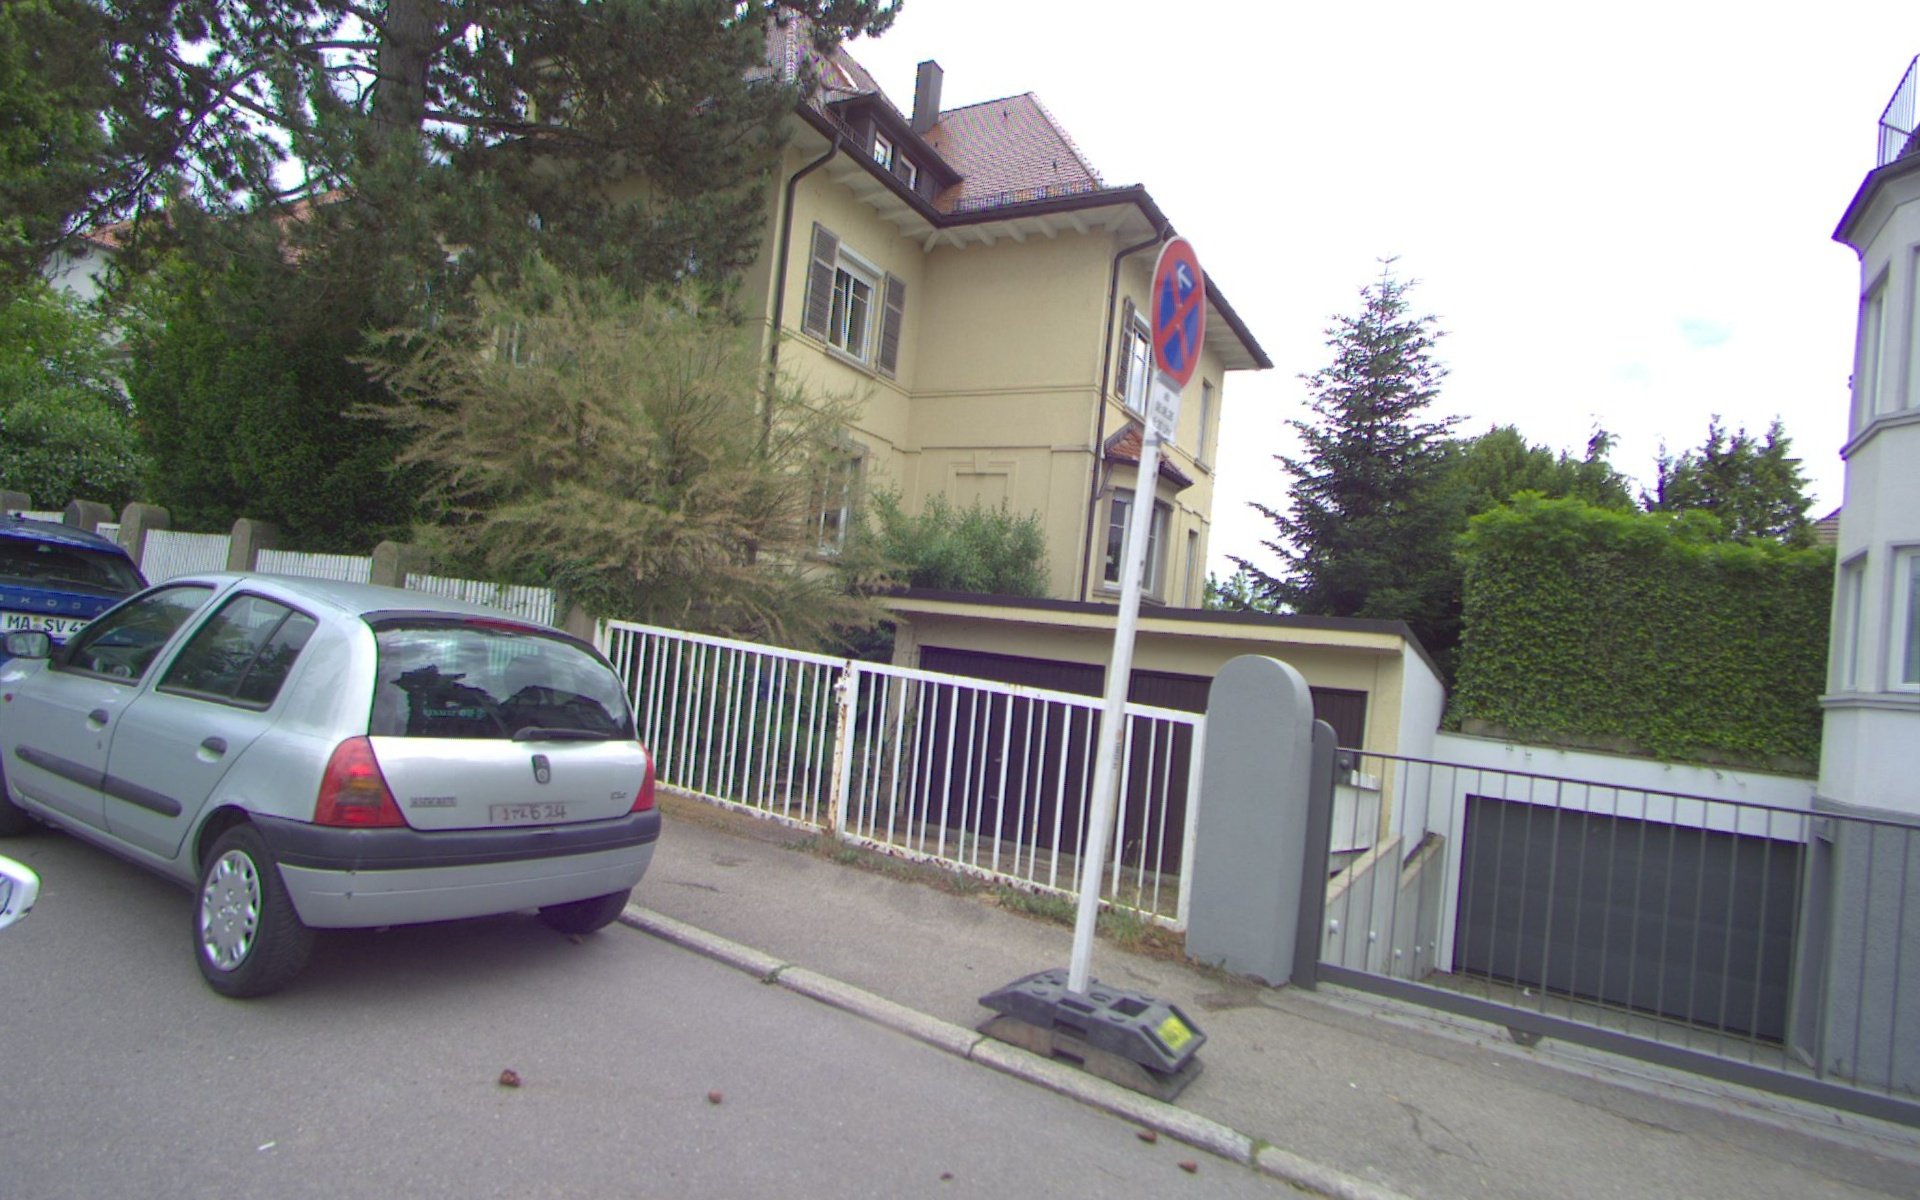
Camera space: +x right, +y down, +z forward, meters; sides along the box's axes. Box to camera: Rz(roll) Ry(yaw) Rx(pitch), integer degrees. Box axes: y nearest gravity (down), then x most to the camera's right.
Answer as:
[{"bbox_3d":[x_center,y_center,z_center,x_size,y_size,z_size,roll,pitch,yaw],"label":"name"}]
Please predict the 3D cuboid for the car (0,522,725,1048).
[{"bbox_3d":[-3.056,0.575,4.663,3.594,1.415,1.578,7,-4,31],"label":"car"}]

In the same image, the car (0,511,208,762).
[{"bbox_3d":[-7.285,0.059,7.082,3.984,1.474,1.652,6,-4,31],"label":"car"}]
